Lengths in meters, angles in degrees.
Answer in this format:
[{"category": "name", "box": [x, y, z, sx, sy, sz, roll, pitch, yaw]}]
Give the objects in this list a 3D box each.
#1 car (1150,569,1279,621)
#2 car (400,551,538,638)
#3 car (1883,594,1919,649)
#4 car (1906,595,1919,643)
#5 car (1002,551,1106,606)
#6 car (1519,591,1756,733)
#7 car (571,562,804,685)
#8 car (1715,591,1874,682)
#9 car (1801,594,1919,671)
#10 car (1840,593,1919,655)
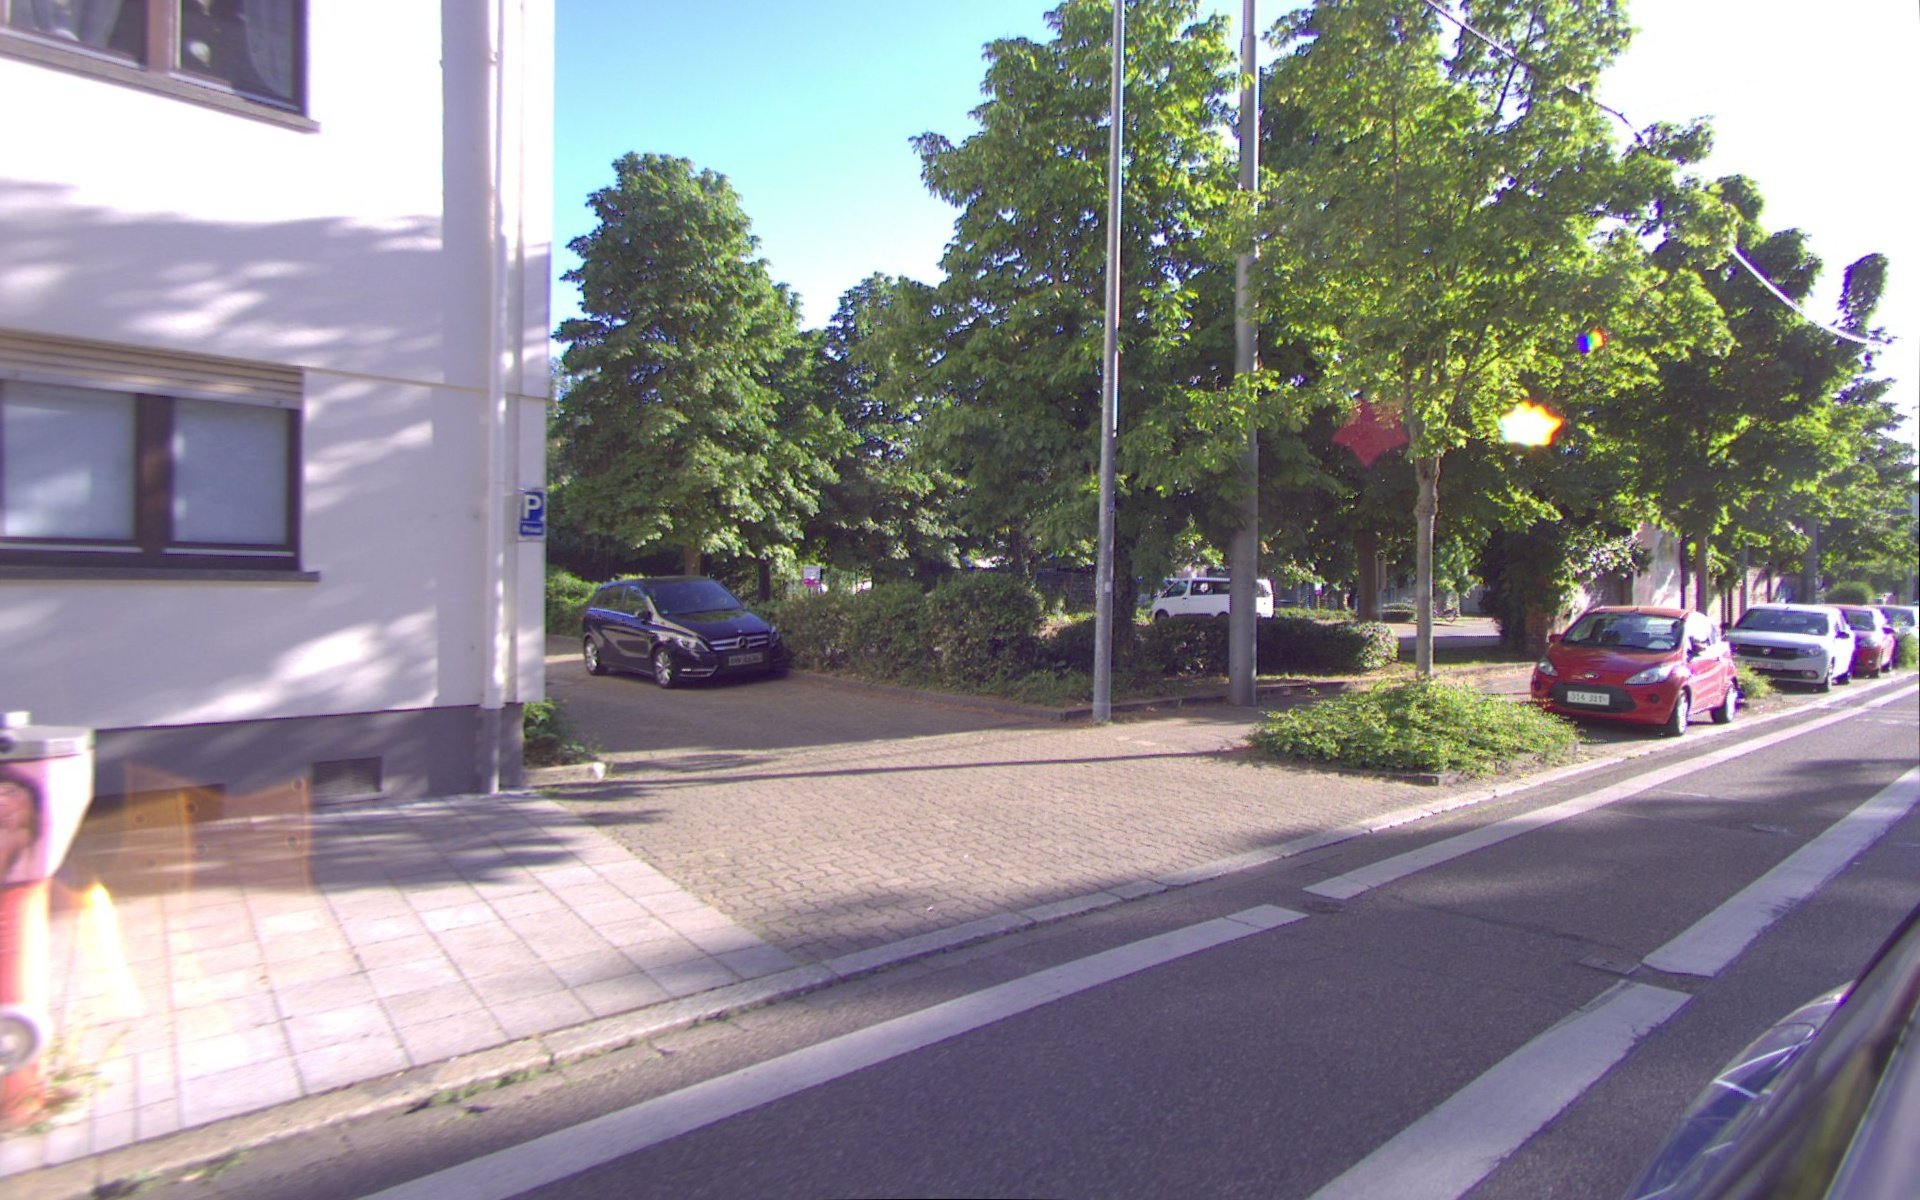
[{"category": "car", "box": [9.554, -0.143, 38.280, 2.007, 1.848, 4.478, 0, -1, -37]}, {"category": "car", "box": [-12.576, -0.109, 25.754, 1.965, 2.008, 4.822, 0, -1, -41]}, {"category": "car", "box": [29.169, 0.613, 30.140, 4.274, 1.549, 1.694, 0, 2, -37]}, {"category": "car", "box": [33.324, 0.641, 33.890, 3.925, 1.549, 1.694, 0, 2, -37]}, {"category": "car", "box": [4.047, -0.914, 44.129, 2.106, 2.269, 4.194, 0, 1, -41]}, {"category": "car", "box": [8.788, 0.690, 13.046, 3.337, 1.527, 1.639, 0, 3, -40]}, {"category": "car", "box": [-4.341, 0.330, 15.708, 1.860, 1.645, 4.155, 0, -1, -41]}, {"category": "car", "box": [16.181, 0.626, 19.559, 3.930, 1.549, 1.692, 0, 2, -41]}, {"category": "car", "box": [20.463, 0.662, 22.866, 3.932, 1.549, 1.691, 0, 2, -42]}, {"category": "car", "box": [25.706, 0.615, 27.634, 3.925, 1.549, 1.694, 0, 2, -37]}]
